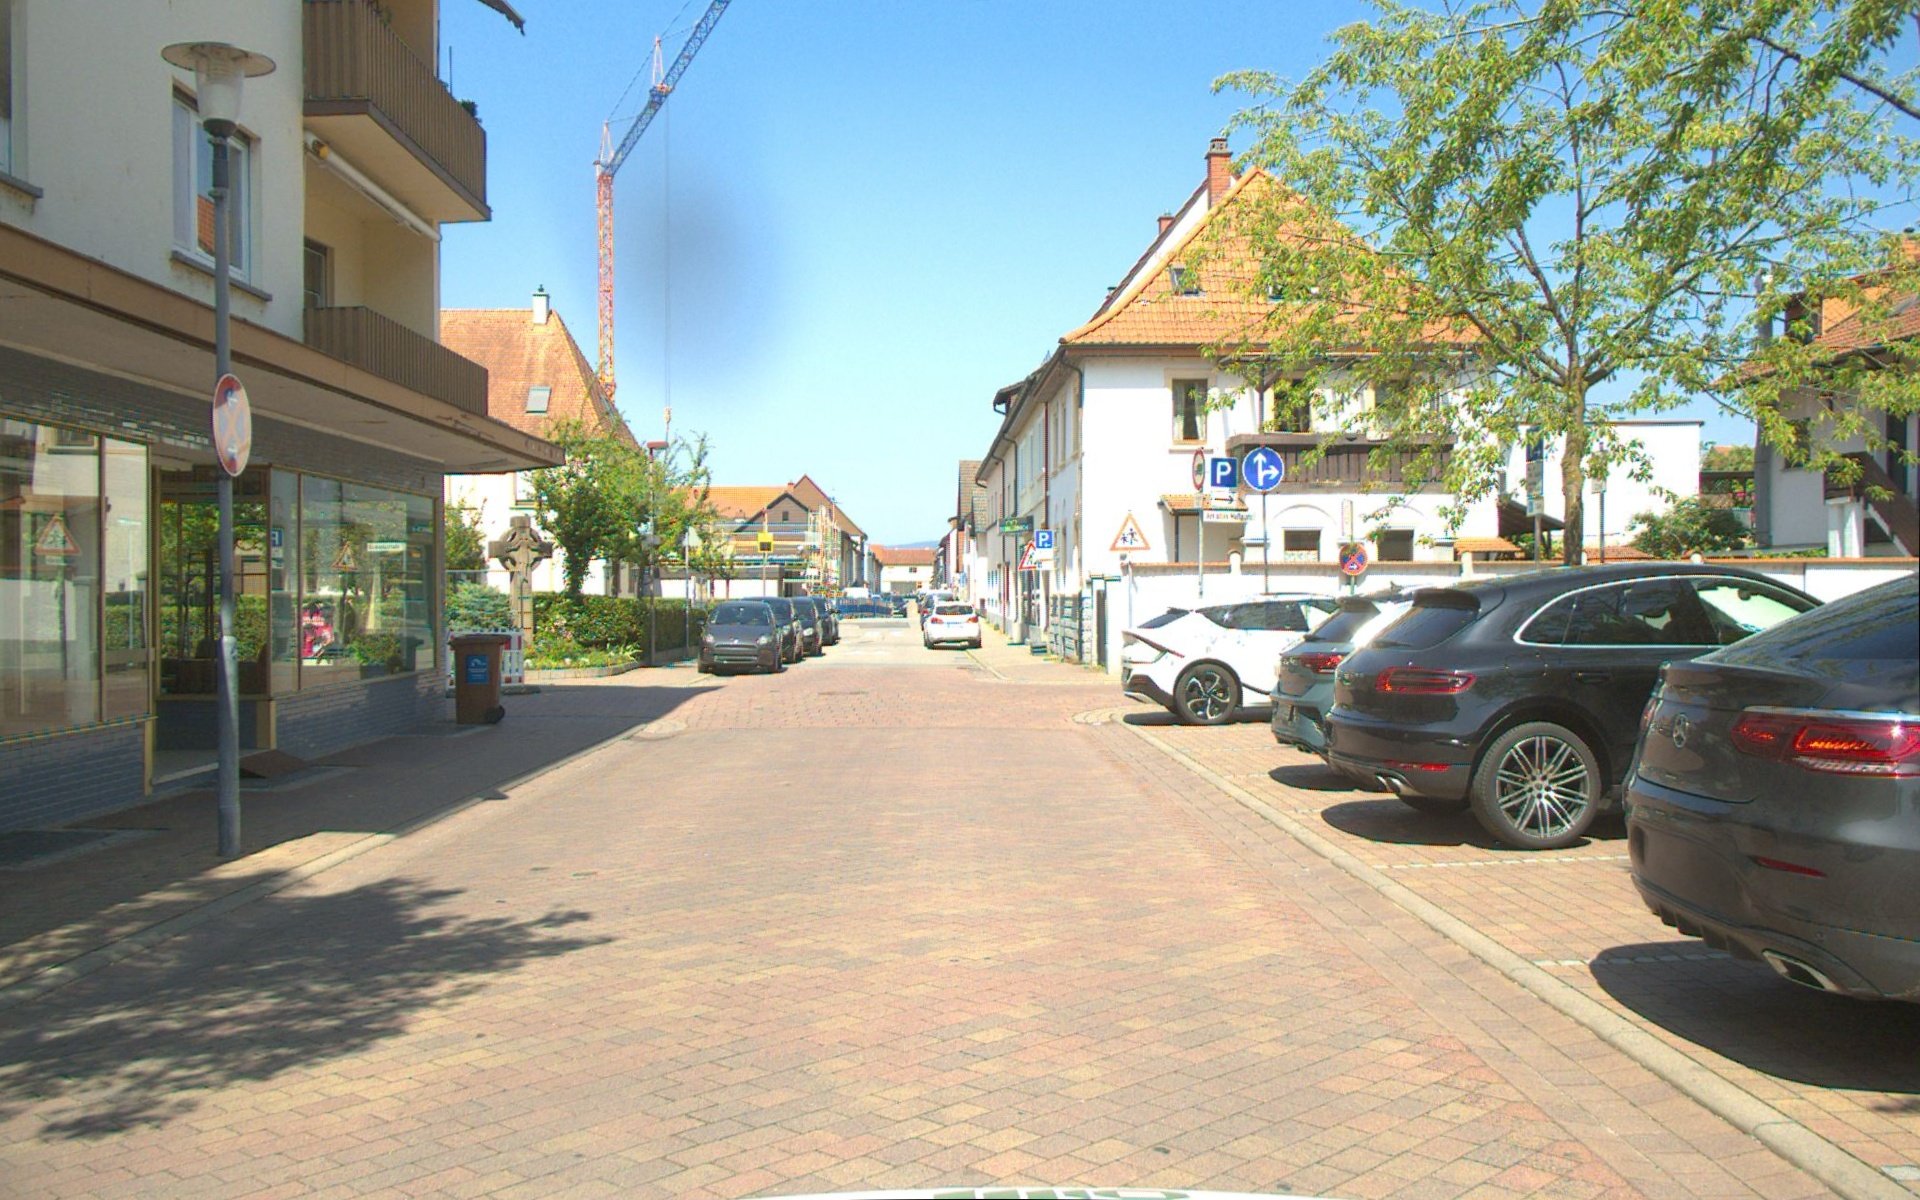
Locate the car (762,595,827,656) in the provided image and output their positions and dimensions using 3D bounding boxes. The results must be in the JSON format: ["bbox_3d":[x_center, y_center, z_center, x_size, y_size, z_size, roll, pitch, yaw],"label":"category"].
[{"bbox_3d":[-4.705,0.691,47.413,1.605,1.657,3.766,0,1,-2],"label":"car"}]

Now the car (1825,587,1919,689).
[{"bbox_3d":[15.516,0.545,25.466,3.541,1.477,1.655,-1,1,-1],"label":"car"}]

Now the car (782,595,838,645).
[{"bbox_3d":[-5.244,0.671,58.180,1.790,1.659,4.214,0,0,-3],"label":"car"}]

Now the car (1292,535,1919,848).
[{"bbox_3d":[4.472,0.502,10.618,4.195,1.710,1.999,-2,0,-4],"label":"car"}]

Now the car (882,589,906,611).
[{"bbox_3d":[-5.106,-0.024,127.646,1.844,1.697,4.151,0,0,-3],"label":"car"}]

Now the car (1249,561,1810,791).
[{"bbox_3d":[4.481,0.567,13.417,3.865,1.560,1.823,-3,0,-2],"label":"car"}]

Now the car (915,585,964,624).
[{"bbox_3d":[-0.960,0.198,74.488,1.848,1.583,3.891,-4,1,-5],"label":"car"}]

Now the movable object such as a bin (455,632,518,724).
[{"bbox_3d":[-5.774,0.937,20.190,0.642,1.089,0.663,0,0,-8],"label":"movable object such as a bin"}]

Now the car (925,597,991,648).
[{"bbox_3d":[-0.032,0.707,54.402,1.847,1.569,4.245,0,0,4],"label":"car"}]

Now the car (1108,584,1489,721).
[{"bbox_3d":[4.139,0.615,20.642,4.352,1.603,1.787,0,0,-4],"label":"car"}]

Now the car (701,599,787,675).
[{"bbox_3d":[-4.637,0.752,35.914,1.669,1.523,3.853,0,0,-5],"label":"car"}]

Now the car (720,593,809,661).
[{"bbox_3d":[-4.882,0.641,41.732,1.778,1.633,4.024,0,0,0],"label":"car"}]

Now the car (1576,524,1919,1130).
[{"bbox_3d":[4.537,0.537,5.303,4.415,1.616,1.851,-2,0,2],"label":"car"}]
